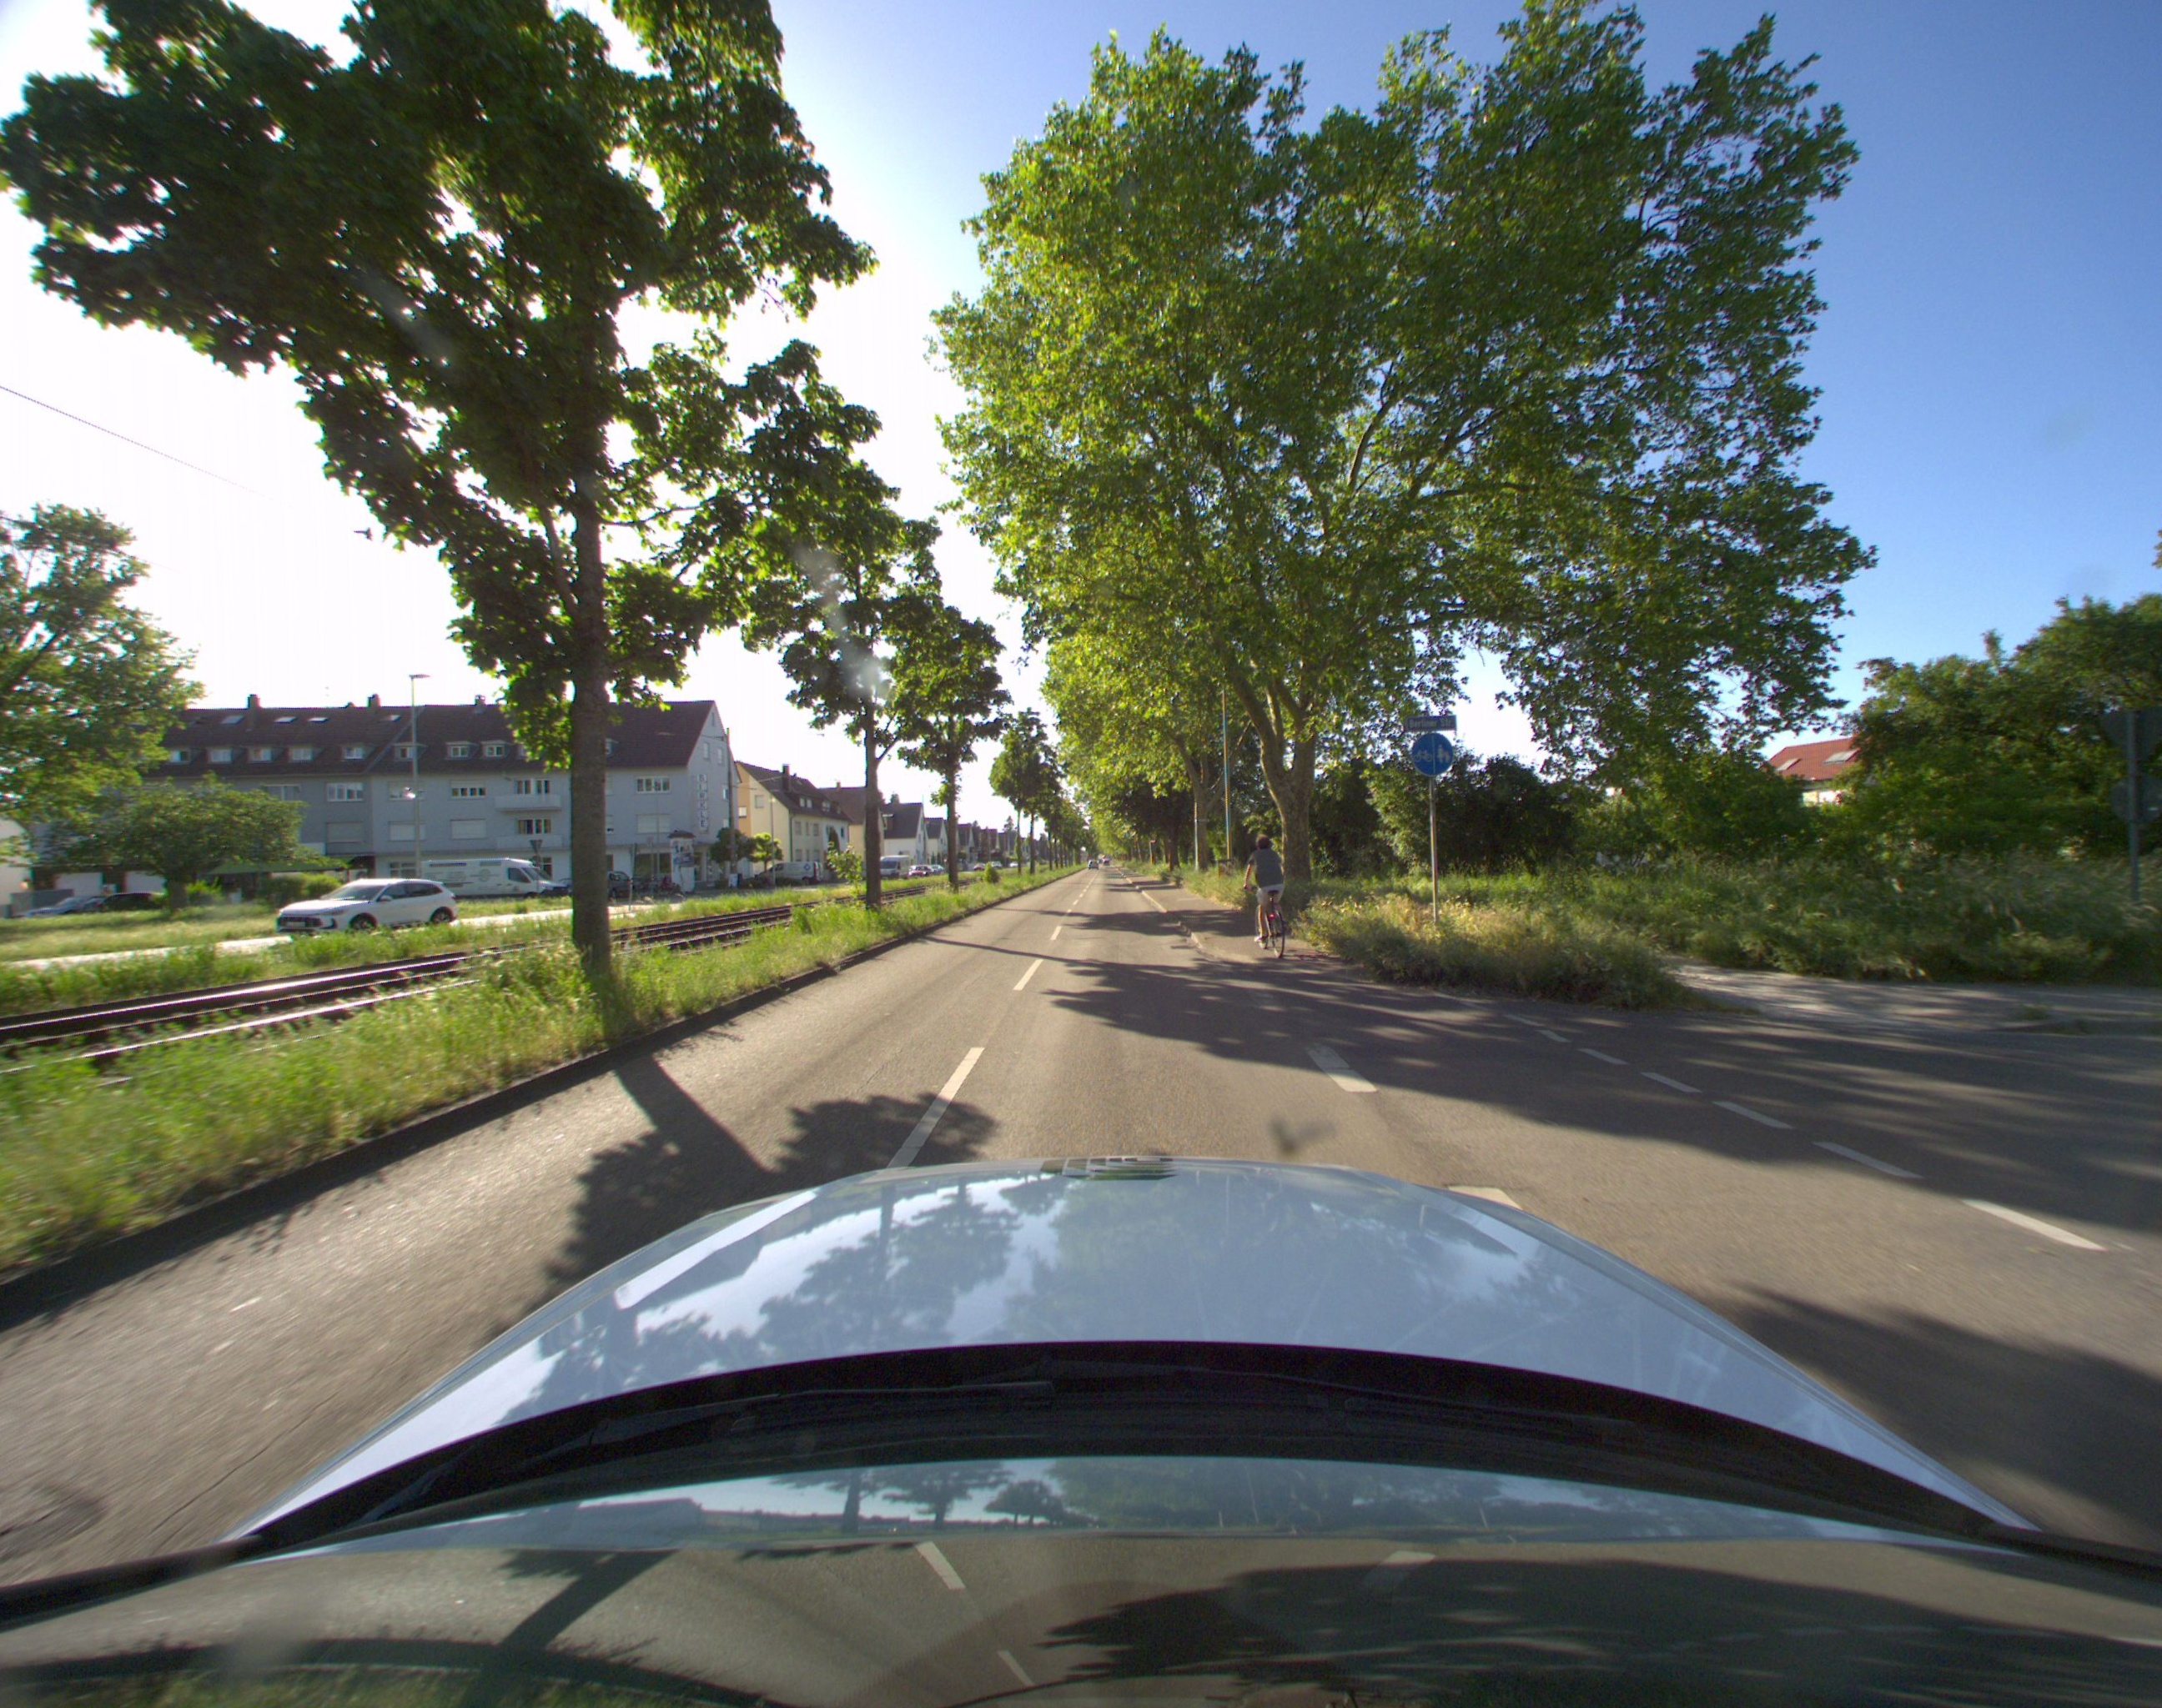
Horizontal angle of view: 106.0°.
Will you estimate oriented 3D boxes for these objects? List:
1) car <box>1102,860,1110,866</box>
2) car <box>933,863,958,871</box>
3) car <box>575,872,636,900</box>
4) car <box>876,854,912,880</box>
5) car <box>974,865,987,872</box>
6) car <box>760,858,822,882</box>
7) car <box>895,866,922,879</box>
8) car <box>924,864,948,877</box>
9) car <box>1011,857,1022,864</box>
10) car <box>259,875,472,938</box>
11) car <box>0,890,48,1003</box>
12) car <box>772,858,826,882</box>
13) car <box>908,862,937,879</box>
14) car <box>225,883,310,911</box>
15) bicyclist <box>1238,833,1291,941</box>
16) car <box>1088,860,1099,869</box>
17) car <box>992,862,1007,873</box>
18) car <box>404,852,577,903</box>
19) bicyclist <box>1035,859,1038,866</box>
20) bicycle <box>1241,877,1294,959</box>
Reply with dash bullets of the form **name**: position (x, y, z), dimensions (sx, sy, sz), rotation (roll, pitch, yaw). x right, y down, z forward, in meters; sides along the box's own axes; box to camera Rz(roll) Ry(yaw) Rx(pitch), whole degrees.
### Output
- **car**: position (5.942, 2.120, 192.165), dimensions (1.754, 1.513, 3.278), rotation (0, -1, 2)
- **car**: position (-23.725, 2.248, 142.648), dimensions (4.202, 1.463, 1.936), rotation (0, -1, -3)
- **car**: position (-29.641, 1.971, 50.871), dimensions (1.793, 1.670, 4.090), rotation (0, -1, -7)
- **car**: position (-18.655, 1.337, 81.620), dimensions (1.986, 2.459, 6.676), rotation (0, -1, 1)
- **car**: position (-17.109, 2.470, 138.991), dimensions (1.487, 1.326, 4.003), rotation (0, -1, 3)
- **car**: position (-24.278, 1.337, 68.290), dimensions (4.616, 1.945, 1.994), rotation (-1, -1, -9)
- **car**: position (-18.470, 1.959, 87.430), dimensions (1.818, 1.412, 4.658), rotation (0, -1, 1)
- **car**: position (-18.111, 2.068, 101.937), dimensions (1.986, 1.581, 4.500), rotation (0, 0, 2)
- **car**: position (-15.498, 1.613, 195.435), dimensions (1.984, 1.599, 4.738), rotation (0, -1, 5)
- **car**: position (-20.389, 1.435, 23.564), dimensions (1.816, 1.607, 4.775), rotation (0, -1, 2)
- **car**: position (-15.901, 1.303, 9.823), dimensions (1.985, 1.531, 3.754), rotation (-1, 0, 3)
- **car**: position (-24.449, 1.389, 70.793), dimensions (4.137, 1.952, 1.994), rotation (-1, -1, -9)
- **car**: position (-14.015, 1.469, 72.105), dimensions (1.670, 1.410, 4.002), rotation (-1, 0, 2)
- **car**: position (-48.249, 2.523, 48.376), dimensions (1.526, 1.465, 3.625), rotation (-1, 0, -4)
- **bicyclist**: position (2.878, 0.505, 12.852), dimensions (0.611, 1.628, 0.910), rotation (-1, 0, 1)
- **car**: position (2.035, 1.711, 129.389), dimensions (1.732, 1.401, 3.277), rotation (0, -1, 1)
- **car**: position (-13.831, 2.338, 138.753), dimensions (1.908, 1.883, 4.526), rotation (0, -1, 3)
- **car**: position (-30.396, 1.196, 42.102), dimensions (7.049, 2.507, 2.328), rotation (0, -1, -3)
- **bicyclist**: position (-11.994, 2.295, 219.074), dimensions (0.686, 1.652, 0.882), rotation (0, -1, 1)
- **bicycle**: position (2.917, 0.962, 12.886), dimensions (0.438, 1.153, 1.824), rotation (-1, 0, 2)
